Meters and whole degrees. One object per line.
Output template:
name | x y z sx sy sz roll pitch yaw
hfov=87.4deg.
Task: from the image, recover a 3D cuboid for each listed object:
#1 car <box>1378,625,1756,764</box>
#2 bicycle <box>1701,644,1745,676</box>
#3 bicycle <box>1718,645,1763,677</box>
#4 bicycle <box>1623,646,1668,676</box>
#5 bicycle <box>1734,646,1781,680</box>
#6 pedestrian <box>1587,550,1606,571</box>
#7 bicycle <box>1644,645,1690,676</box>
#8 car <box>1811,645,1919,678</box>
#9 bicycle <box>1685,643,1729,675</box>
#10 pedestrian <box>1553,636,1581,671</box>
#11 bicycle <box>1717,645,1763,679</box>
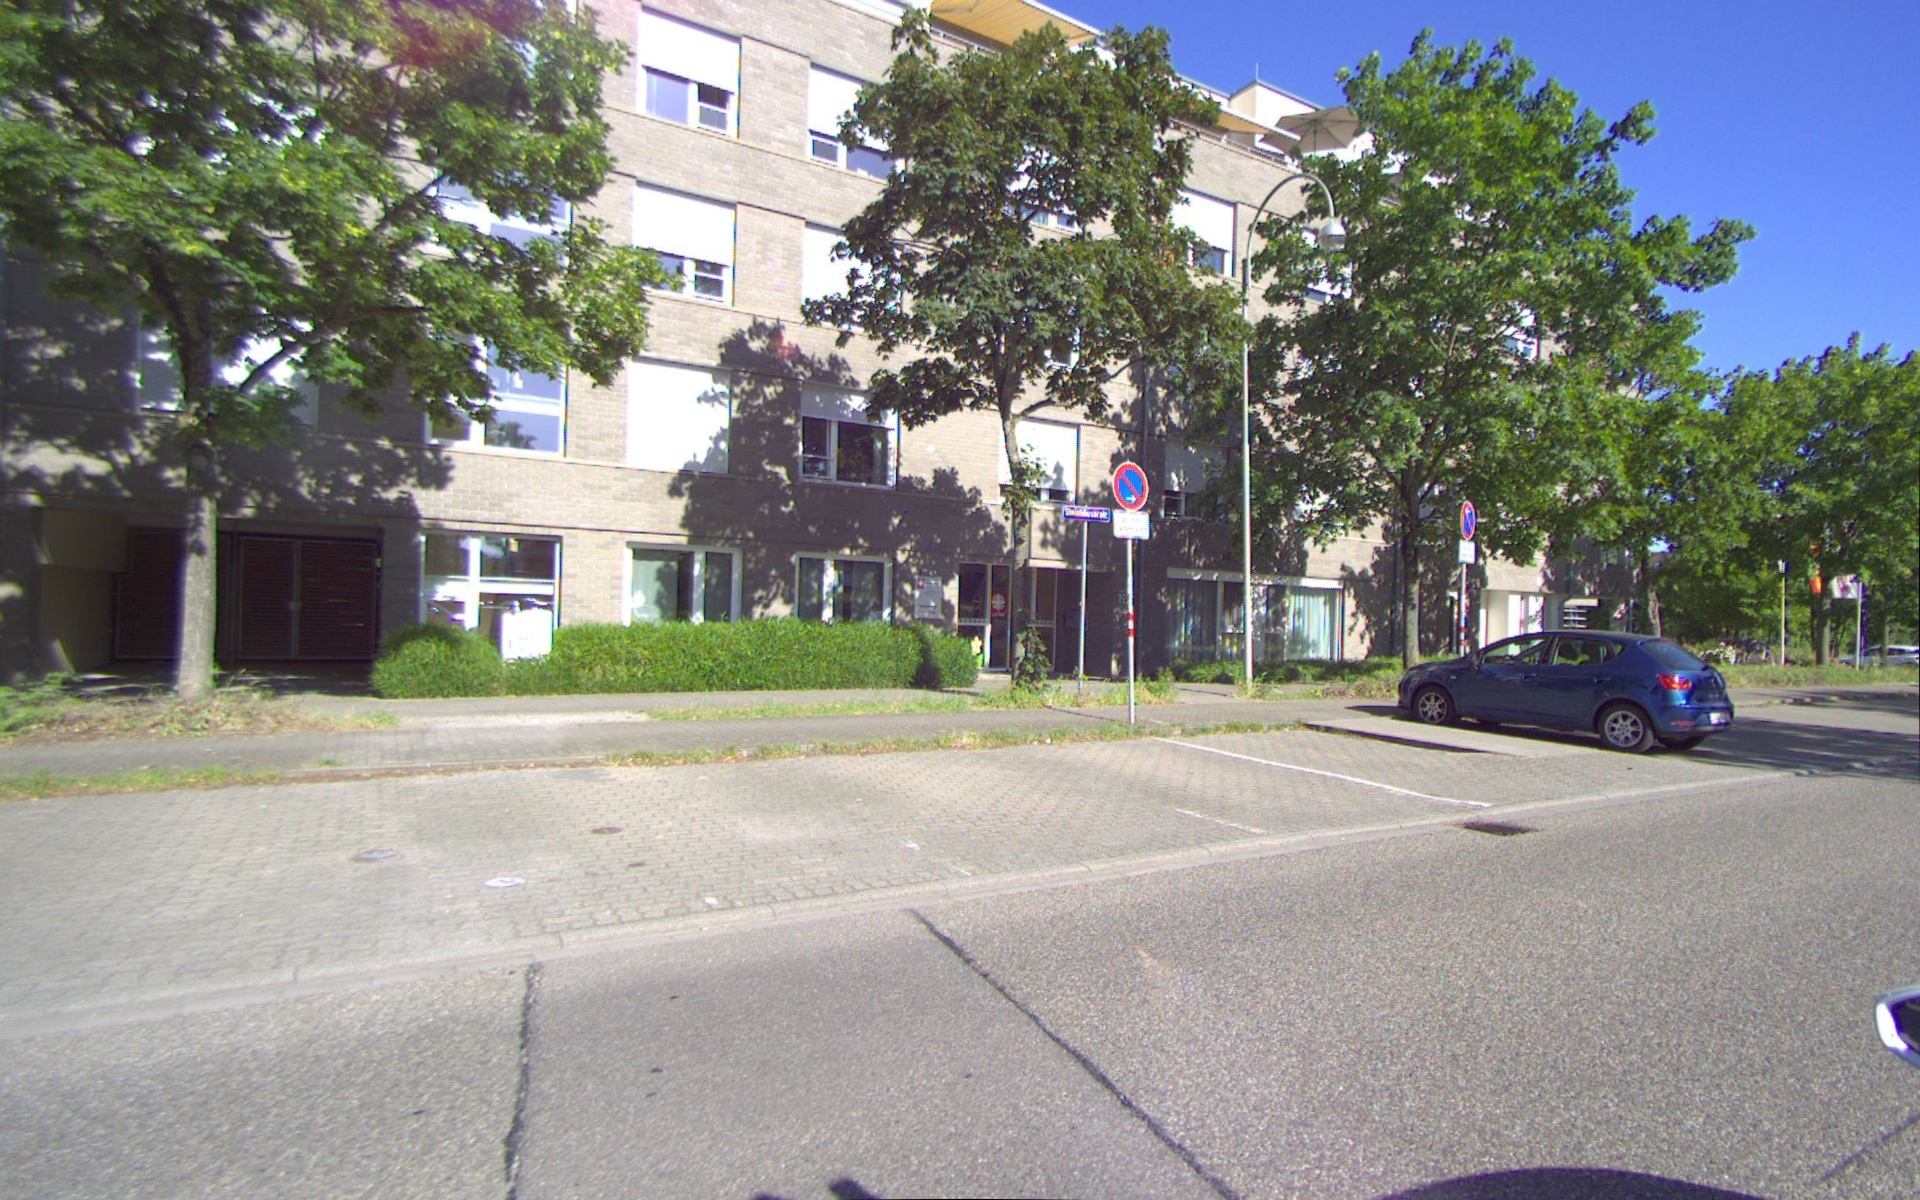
car | 7.954 1.146 13.513 1.798 1.430 3.962 2 -1 -34
bicycle | 26.670 2.103 35.094 2.168 1.061 0.435 3 0 -31
bicycle | 26.918 2.120 34.640 2.168 1.061 0.435 3 0 -31
bicycle | 24.623 2.193 36.062 2.168 1.061 0.435 3 0 -31
bicycle | 26.166 2.064 32.948 2.168 1.061 0.435 3 0 -31
pedestrian | 21.570 -1.342 34.025 0.424 0.695 0.412 2 0 -39
bicycle | 24.799 2.130 35.213 2.168 1.061 0.435 3 0 -31
car | 43.233 2.883 47.637 1.605 1.469 4.060 2 -3 -29
bicycle | 26.441 2.089 35.530 2.168 1.061 0.435 3 0 -31
pedestrian | 24.180 2.138 39.997 0.736 1.379 0.665 2 -2 -29
bicycle | 25.922 2.059 33.362 2.168 1.061 0.435 3 0 -31
